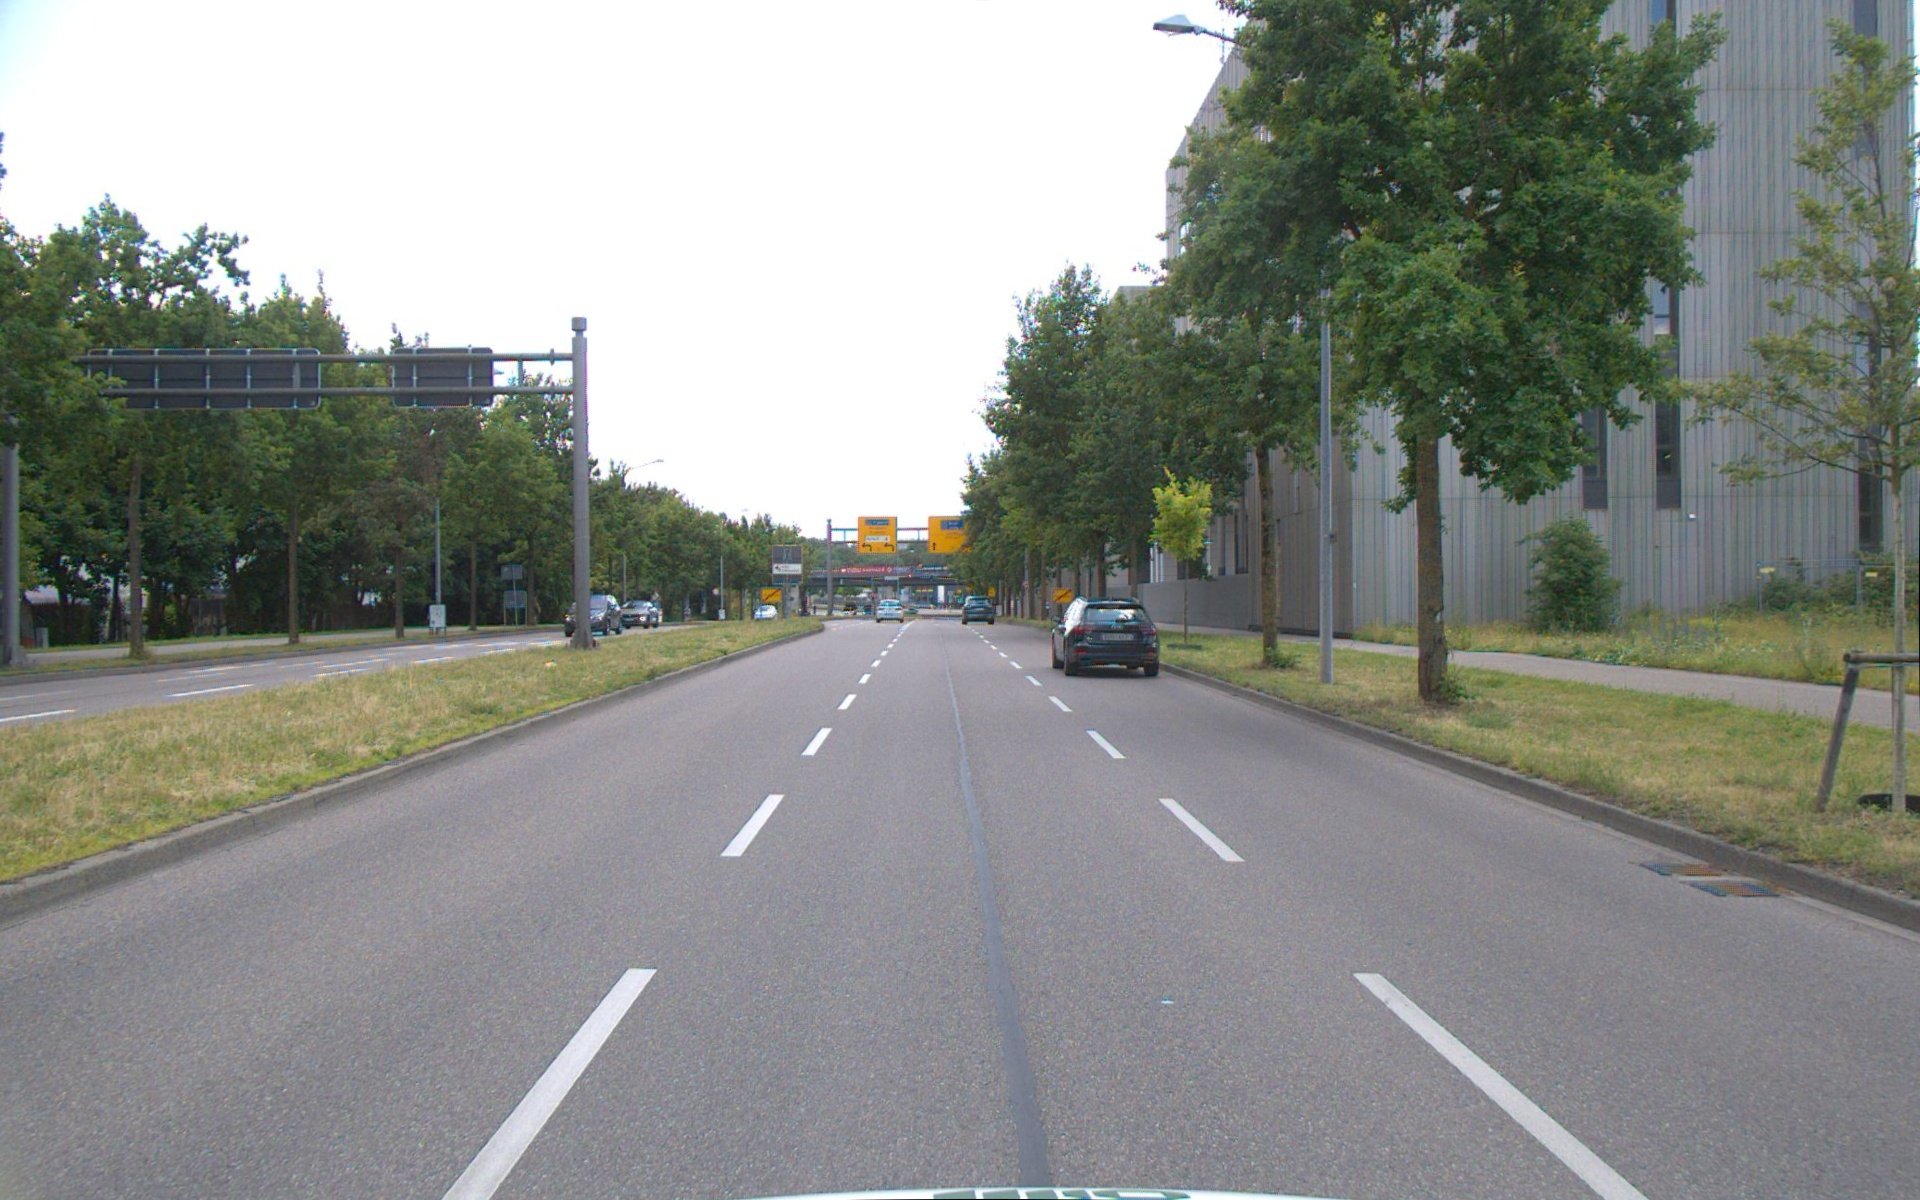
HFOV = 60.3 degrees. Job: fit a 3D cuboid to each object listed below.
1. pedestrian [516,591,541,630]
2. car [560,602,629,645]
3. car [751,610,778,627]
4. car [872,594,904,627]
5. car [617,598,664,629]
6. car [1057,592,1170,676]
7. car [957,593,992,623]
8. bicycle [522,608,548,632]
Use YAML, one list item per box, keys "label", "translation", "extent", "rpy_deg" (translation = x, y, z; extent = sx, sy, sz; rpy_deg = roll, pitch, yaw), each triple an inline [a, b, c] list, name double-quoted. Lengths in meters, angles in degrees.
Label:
- label: "pedestrian"
  translation: [-23.107, 0.575, 88.588]
  extent: [0.950, 2.049, 1.249]
  rpy_deg: [-3, 0, 0]
- label: "car"
  translation: [-14.539, 0.912, 65.974]
  extent: [1.706, 1.596, 4.276]
  rpy_deg: [-2, 0, 0]
- label: "car"
  translation: [-16.786, 1.569, 142.005]
  extent: [1.606, 1.352, 4.382]
  rpy_deg: [-1, 0, 2]
- label: "car"
  translation: [-4.691, 0.670, 107.171]
  extent: [1.954, 2.049, 3.997]
  rpy_deg: [1, -1, -4]
- label: "car"
  translation: [-17.391, 0.716, 90.101]
  extent: [1.706, 1.572, 4.572]
  rpy_deg: [-2, 0, -1]
- label: "car"
  translation: [2.882, 0.632, 31.758]
  extent: [1.650, 1.489, 3.998]
  rpy_deg: [1, -1, -2]
- label: "car"
  translation: [0.877, 0.455, 96.983]
  extent: [1.952, 1.654, 4.310]
  rpy_deg: [-1, 0, 1]
- label: "bicycle"
  translation: [-22.795, 1.063, 88.725]
  extent: [0.791, 1.248, 2.501]
  rpy_deg: [-1, 0, 0]
